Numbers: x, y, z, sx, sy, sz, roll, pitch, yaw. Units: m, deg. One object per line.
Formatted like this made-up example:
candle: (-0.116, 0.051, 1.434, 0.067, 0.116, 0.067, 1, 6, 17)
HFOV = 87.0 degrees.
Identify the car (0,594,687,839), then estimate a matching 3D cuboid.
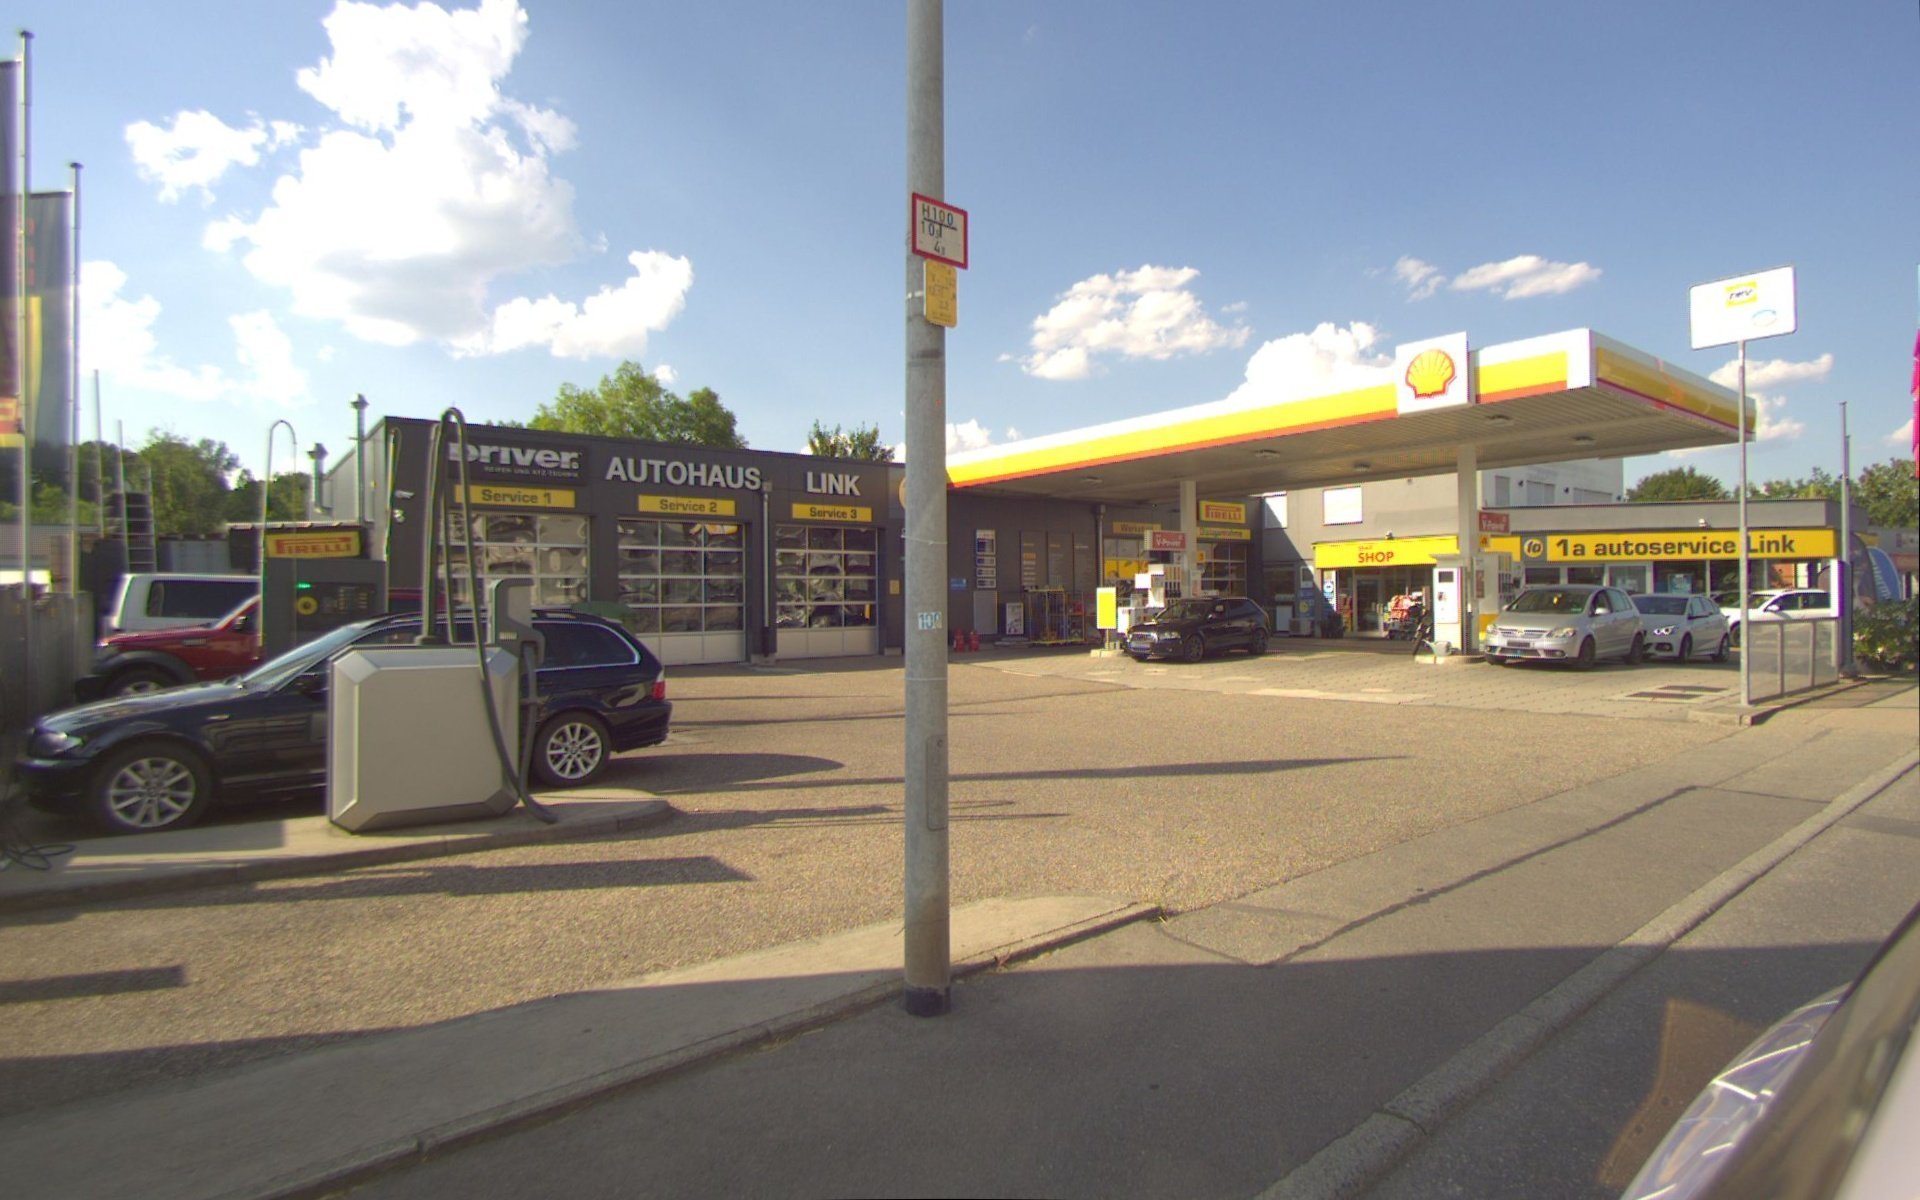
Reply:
car: (-4.504, 0.694, 7.968, 4.302, 1.445, 1.581, 0, -1, -40)

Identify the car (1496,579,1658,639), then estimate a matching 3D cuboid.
car: (17.802, 0.237, 29.364, 3.628, 1.653, 1.672, 0, 1, 11)

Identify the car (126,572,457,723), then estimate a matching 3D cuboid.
car: (-8.949, 0.578, 13.783, 3.562, 1.815, 1.583, 1, 0, -35)

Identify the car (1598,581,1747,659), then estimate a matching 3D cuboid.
car: (16.012, 0.402, 22.694, 3.925, 1.597, 1.676, 0, 0, -38)

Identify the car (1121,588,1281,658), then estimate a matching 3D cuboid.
car: (5.701, 0.485, 23.740, 3.926, 1.417, 1.541, -2, 2, -38)

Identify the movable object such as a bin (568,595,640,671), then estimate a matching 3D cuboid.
movable object such as a bin: (-7.509, 0.677, 21.353, 1.187, 1.549, 0.990, 0, 0, -39)

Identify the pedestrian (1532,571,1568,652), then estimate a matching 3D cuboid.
pedestrian: (12.550, 0.240, 21.532, 0.524, 1.691, 0.502, 0, 0, -37)

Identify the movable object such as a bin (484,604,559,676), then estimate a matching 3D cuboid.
movable object such as a bin: (-8.828, 0.778, 20.379, 1.109, 1.393, 0.988, 0, 0, -43)

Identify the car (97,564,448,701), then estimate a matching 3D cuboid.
car: (-10.887, 0.475, 16.346, 4.466, 1.948, 1.583, 1, 0, -35)

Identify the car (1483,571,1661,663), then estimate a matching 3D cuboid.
car: (11.858, 0.289, 19.530, 3.925, 1.597, 1.676, 0, 0, -38)

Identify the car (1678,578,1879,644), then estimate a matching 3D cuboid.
car: (22.948, 0.270, 28.516, 4.013, 1.695, 1.672, 1, 1, 11)
